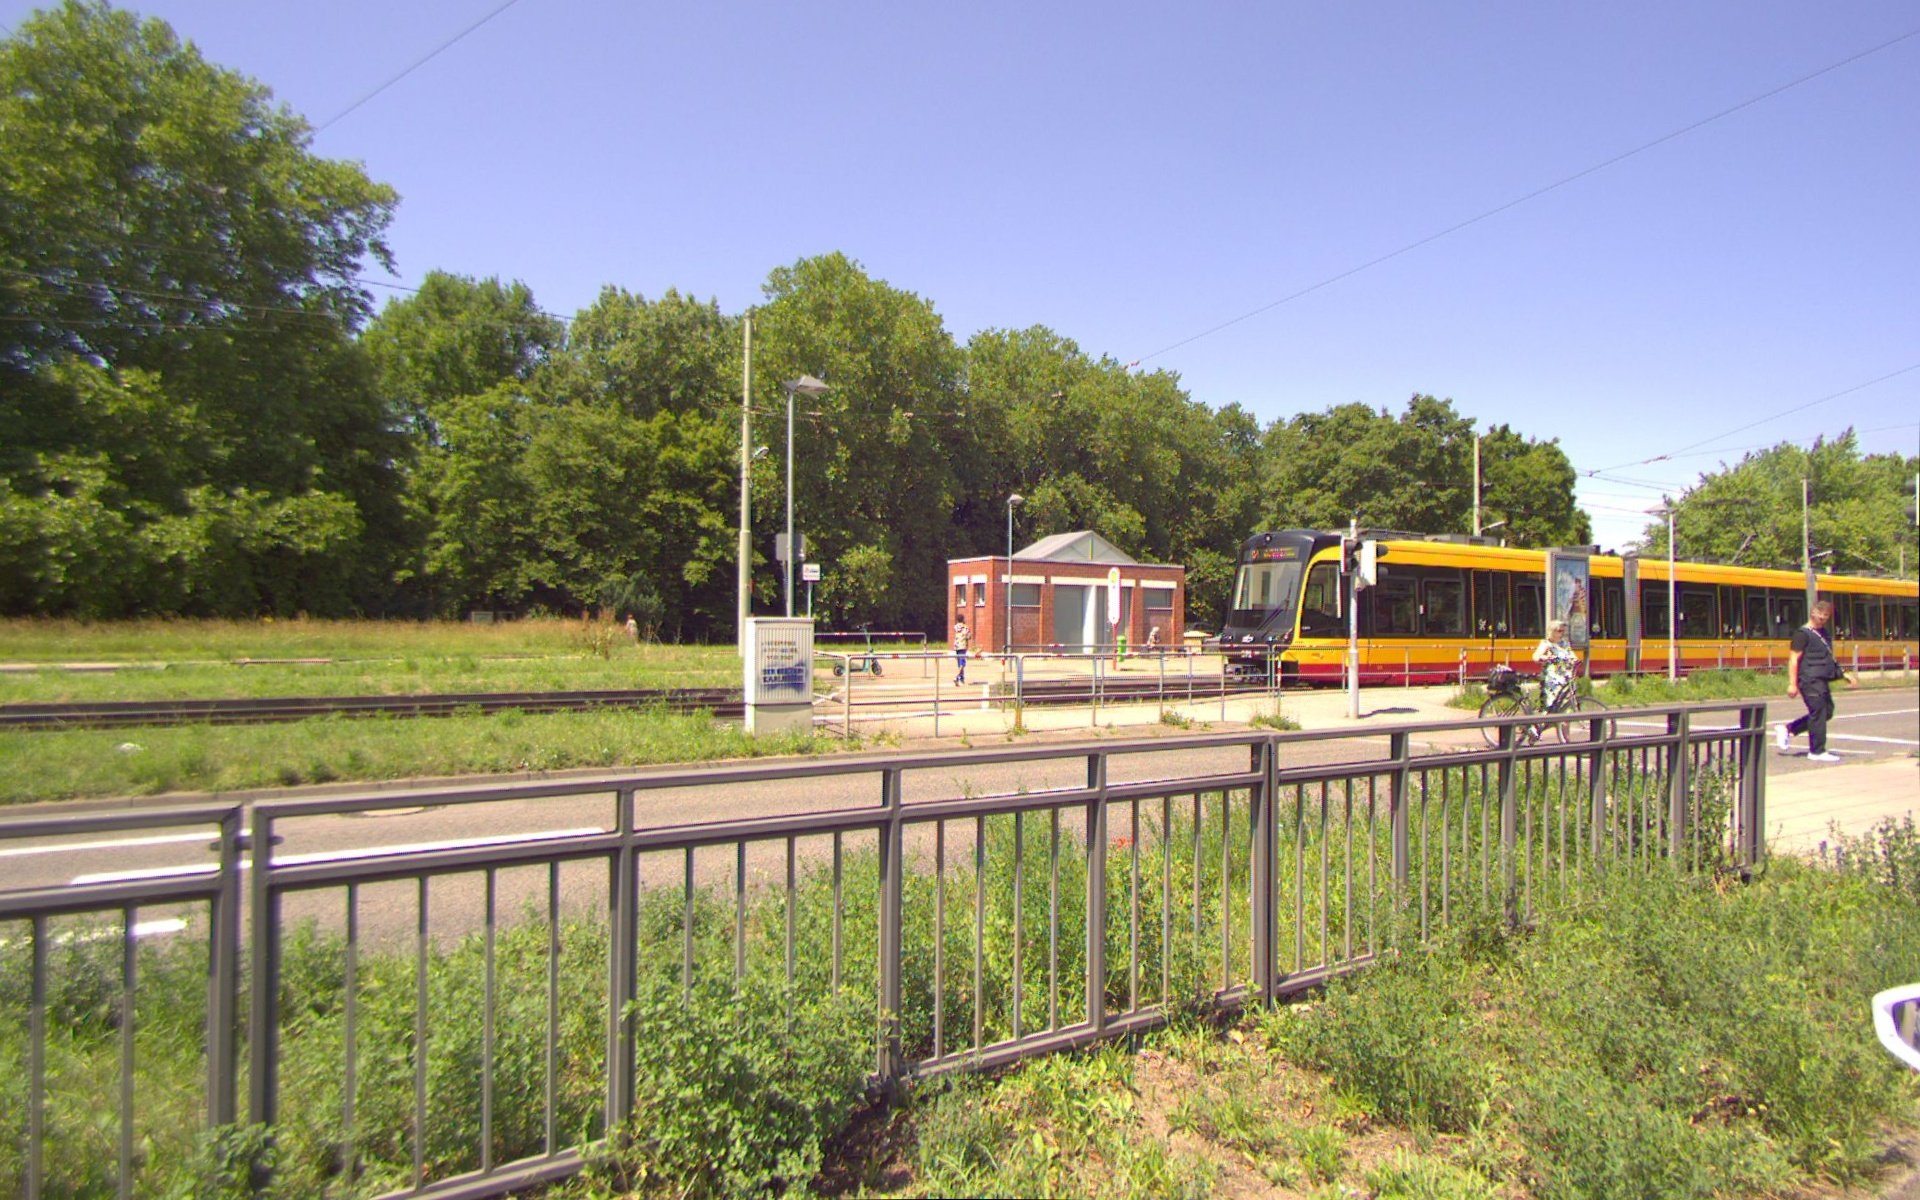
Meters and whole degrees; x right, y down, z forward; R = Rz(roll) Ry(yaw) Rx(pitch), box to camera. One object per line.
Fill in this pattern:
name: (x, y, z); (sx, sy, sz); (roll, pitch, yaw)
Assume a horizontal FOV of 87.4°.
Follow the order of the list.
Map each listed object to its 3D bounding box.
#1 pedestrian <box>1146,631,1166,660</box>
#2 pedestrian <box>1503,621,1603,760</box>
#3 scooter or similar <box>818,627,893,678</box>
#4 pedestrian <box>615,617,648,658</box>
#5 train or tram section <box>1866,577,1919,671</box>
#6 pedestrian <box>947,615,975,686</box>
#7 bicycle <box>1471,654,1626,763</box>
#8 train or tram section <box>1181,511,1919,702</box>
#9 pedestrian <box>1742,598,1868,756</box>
pedestrian: (6.931, 1.600, 35.508); (0.515, 1.032, 0.479); (1, -1, -28)
pedestrian: (7.384, 1.100, 12.520); (0.695, 1.650, 0.817); (1, -1, -24)
scooter or similar: (-2.477, 1.232, 23.778); (1.640, 1.142, 0.613); (1, -1, 15)
pedestrian: (-14.051, 1.595, 42.945); (1.245, 1.724, 0.517); (1, -1, 15)
train or tram section: (48.568, 1.224, 46.123); (25.694, 3.717, 2.774); (1, -1, -30)
pedestrian: (0.030, 1.120, 22.582); (0.527, 1.561, 0.869); (1, -1, 5)
bicycle: (7.232, 1.296, 12.445); (0.239, 1.172, 1.858); (1, -1, -24)
train or tram section: (21.524, 0.536, 30.218); (37.077, 3.717, 2.774); (1, -1, -30)
pedestrian: (10.158, 0.903, 12.107); (0.691, 1.820, 0.961); (1, -1, -1)
